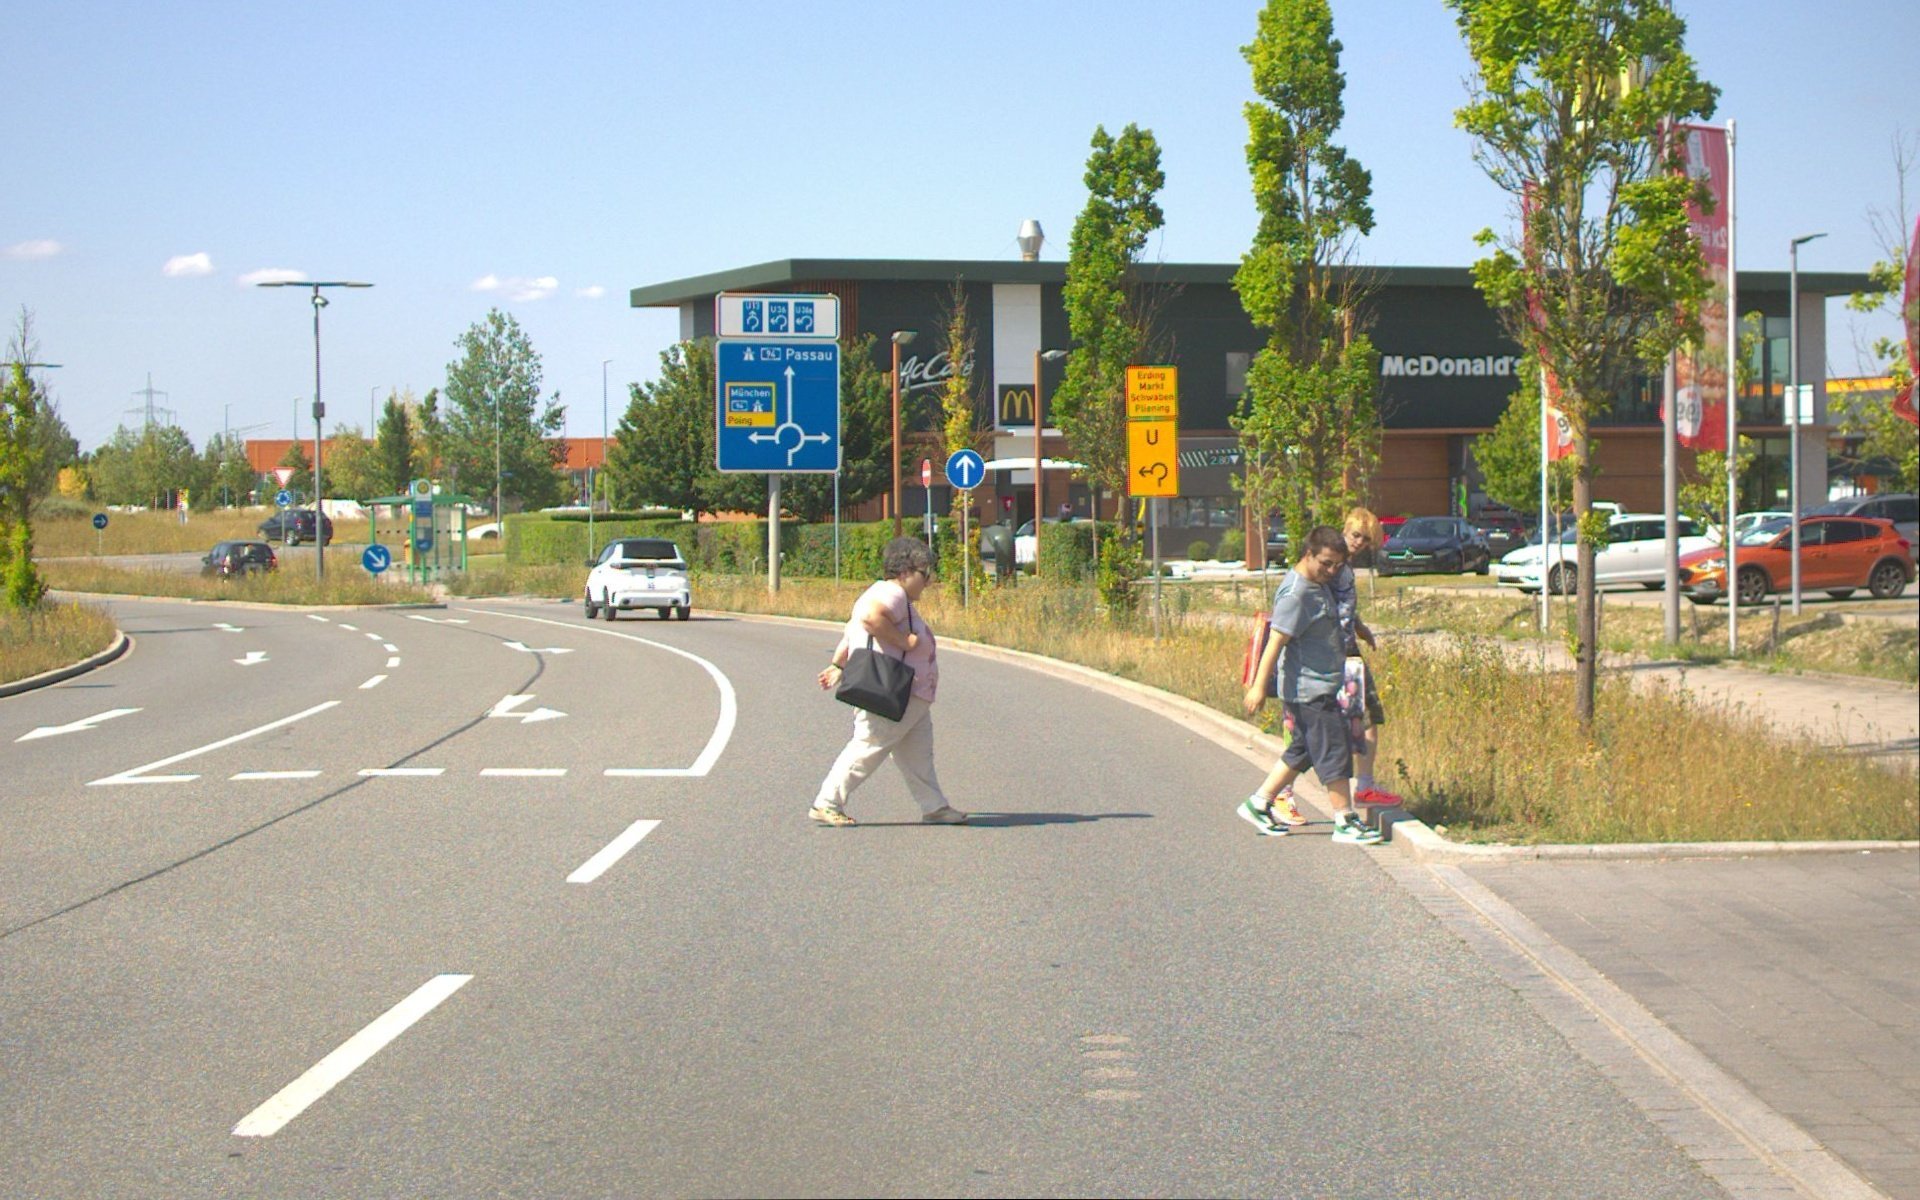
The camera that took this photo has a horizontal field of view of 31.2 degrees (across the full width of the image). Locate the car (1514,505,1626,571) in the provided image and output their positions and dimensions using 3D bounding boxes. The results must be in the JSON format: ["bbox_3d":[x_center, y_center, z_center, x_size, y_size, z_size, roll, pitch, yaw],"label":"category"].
[{"bbox_3d":[13.996,-1.432,78.706,1.787,1.457,4.165,0,2,21],"label":"car"}]

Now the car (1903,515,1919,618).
[{"bbox_3d":[16.215,-0.536,49.806,4.554,1.485,1.869,-2,2,-11],"label":"car"}]

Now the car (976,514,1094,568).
[{"bbox_3d":[2.060,-1.640,95.416,1.792,1.429,4.001,-1,1,-23],"label":"car"}]

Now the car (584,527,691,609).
[{"bbox_3d":[-5.875,-0.609,62.368,1.616,1.429,3.794,-1,1,-10],"label":"car"}]

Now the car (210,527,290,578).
[{"bbox_3d":[-20.214,-1.368,97.807,1.616,1.429,3.793,-1,1,-21],"label":"car"}]

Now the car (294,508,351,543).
[{"bbox_3d":[-27.176,-3.171,146.427,1.993,1.435,4.001,-1,2,-16],"label":"car"}]

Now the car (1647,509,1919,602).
[{"bbox_3d":[14.261,-0.793,59.571,4.203,1.485,1.869,-2,2,-15],"label":"car"}]

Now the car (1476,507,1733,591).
[{"bbox_3d":[12.532,-1.010,66.890,4.524,1.485,1.869,-2,2,-15],"label":"car"}]

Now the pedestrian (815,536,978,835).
[{"bbox_3d":[-0.321,0.413,17.372,0.792,1.465,0.949,0,1,-1],"label":"pedestrian"}]

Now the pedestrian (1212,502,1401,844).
[{"bbox_3d":[1.676,0.338,16.759,0.809,1.622,0.866,0,1,-1],"label":"pedestrian"}]

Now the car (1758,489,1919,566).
[{"bbox_3d":[19.949,-1.622,76.117,4.154,1.629,1.792,-1,1,-23],"label":"car"}]

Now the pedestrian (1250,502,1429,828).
[{"bbox_3d":[1.931,0.317,17.577,0.801,1.624,0.805,0,1,-1],"label":"pedestrian"}]

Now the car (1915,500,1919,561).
[{"bbox_3d":[24.085,-1.703,82.694,1.787,1.446,4.165,0,2,21],"label":"car"}]

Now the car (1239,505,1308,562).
[{"bbox_3d":[9.250,-1.976,101.364,1.793,1.599,3.999,-1,1,8],"label":"car"}]

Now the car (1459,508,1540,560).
[{"bbox_3d":[16.264,-2.008,103.500,1.794,1.508,3.997,0,1,18],"label":"car"}]

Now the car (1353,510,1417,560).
[{"bbox_3d":[12.665,-1.934,102.360,1.793,1.429,3.999,-1,1,8],"label":"car"}]

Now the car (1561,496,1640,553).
[{"bbox_3d":[19.628,-2.331,105.295,1.794,1.696,3.997,0,1,19],"label":"car"}]

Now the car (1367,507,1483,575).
[{"bbox_3d":[10.477,-1.334,77.243,1.699,1.457,4.165,0,2,21],"label":"car"}]
